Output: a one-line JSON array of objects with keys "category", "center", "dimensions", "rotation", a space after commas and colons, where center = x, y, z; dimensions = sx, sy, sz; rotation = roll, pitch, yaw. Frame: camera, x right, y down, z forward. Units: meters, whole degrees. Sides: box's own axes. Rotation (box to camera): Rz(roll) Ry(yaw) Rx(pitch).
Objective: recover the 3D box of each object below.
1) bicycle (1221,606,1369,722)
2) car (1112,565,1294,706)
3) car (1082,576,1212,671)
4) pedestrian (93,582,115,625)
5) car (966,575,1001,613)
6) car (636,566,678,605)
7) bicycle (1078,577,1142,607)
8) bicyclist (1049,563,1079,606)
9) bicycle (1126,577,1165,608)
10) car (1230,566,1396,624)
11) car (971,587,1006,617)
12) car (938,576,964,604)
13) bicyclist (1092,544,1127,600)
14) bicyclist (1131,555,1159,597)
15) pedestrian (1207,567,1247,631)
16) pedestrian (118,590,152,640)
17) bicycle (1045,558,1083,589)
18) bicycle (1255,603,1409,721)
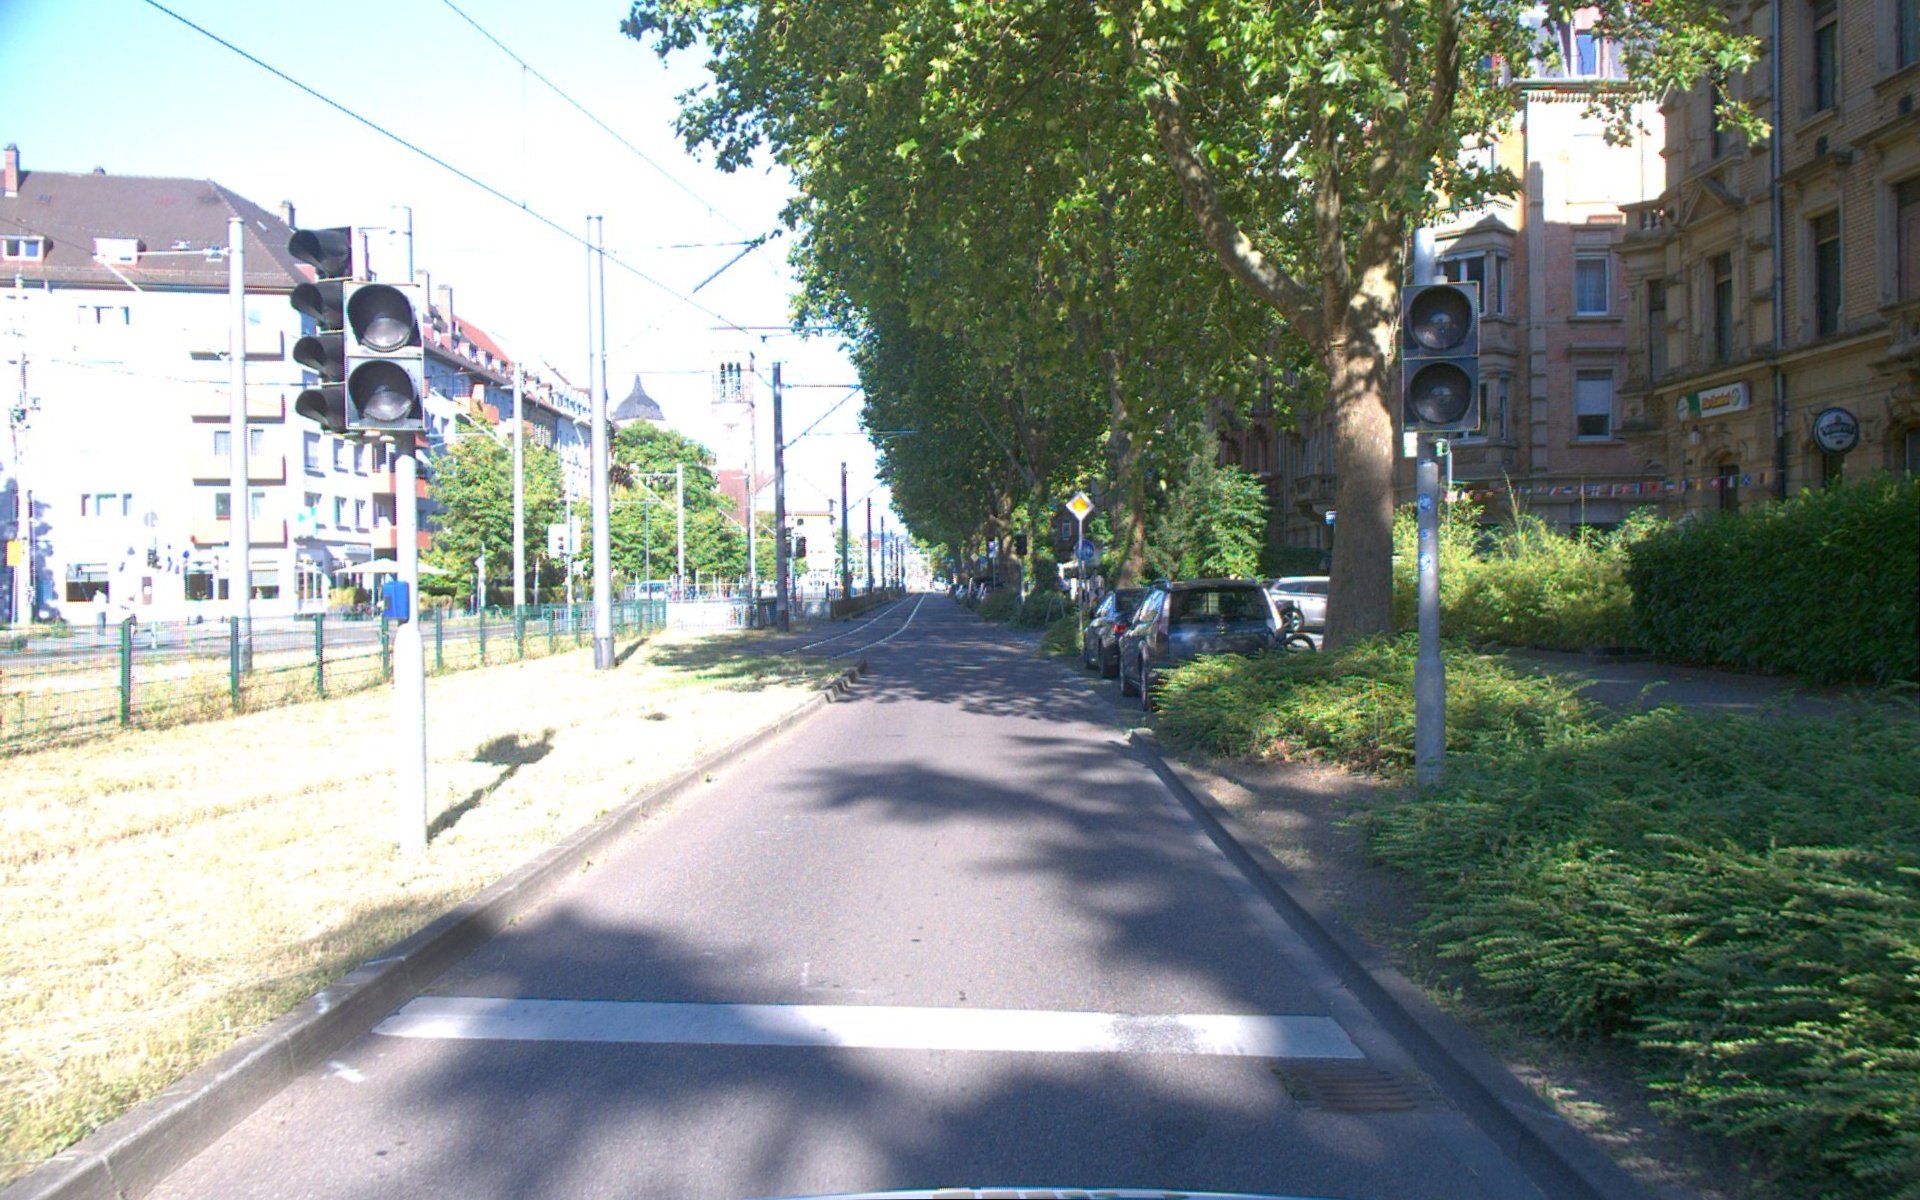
[{"category": "bicycle", "center": [3.493, 0.647, 17.200], "dimensions": [1.580, 1.060, 0.504], "rotation": [-3, 4, -31]}, {"category": "car", "center": [2.918, 0.365, 20.651], "dimensions": [1.610, 1.537, 4.182], "rotation": [-2, 1, 0]}, {"category": "car", "center": [3.003, 0.323, 27.266], "dimensions": [1.610, 1.397, 4.182], "rotation": [-2, 1, 0]}, {"category": "pedestrian", "center": [-30.772, 0.127, 59.449], "dimensions": [0.583, 1.493, 0.907], "rotation": [-3, 3, -30]}, {"category": "car", "center": [1.392, -0.322, 97.806], "dimensions": [1.953, 2.144, 3.999], "rotation": [1, -1, 0]}, {"category": "car", "center": [-17.958, -0.879, 98.066], "dimensions": [1.954, 2.048, 3.998], "rotation": [-2, 3, -4]}, {"category": "bicycle", "center": [5.342, -0.284, 58.975], "dimensions": [2.196, 0.993, 0.682], "rotation": [-1, 3, -2]}, {"category": "bicyclist", "center": [3.645, -0.556, 57.908], "dimensions": [0.798, 1.429, 1.079], "rotation": [-2, 3, -10]}, {"category": "bicycle", "center": [6.695, -0.281, 59.865], "dimensions": [0.798, 0.973, 2.313], "rotation": [-2, 3, -9]}, {"category": "car", "center": [9.484, -0.152, 44.616], "dimensions": [3.915, 1.445, 1.995], "rotation": [-1, 1, -11]}, {"category": "car", "center": [1.501, 0.146, 89.053], "dimensions": [1.757, 1.537, 3.999], "rotation": [1, -1, 0]}, {"category": "car", "center": [-0.681, -0.764, 130.170], "dimensions": [1.953, 2.144, 3.999], "rotation": [1, -1, 0]}, {"category": "bicyclist", "center": [5.324, -0.999, 58.926], "dimensions": [1.118, 1.923, 0.682], "rotation": [-2, 3, -1]}, {"category": "bicyclist", "center": [6.683, -0.873, 59.777], "dimensions": [0.798, 1.429, 0.823], "rotation": [-2, 3, -10]}, {"category": "pedestrian", "center": [7.506, -0.049, 46.556], "dimensions": [0.798, 1.718, 1.079], "rotation": [-2, 3, -10]}, {"category": "pedestrian", "center": [-25.413, 0.455, 50.937], "dimensions": [0.674, 1.493, 0.591], "rotation": [-1, 3, 2]}, {"category": "bicycle", "center": [3.636, -0.930, 57.962], "dimensions": [0.798, 0.973, 2.313], "rotation": [-2, 3, -9]}, {"category": "bicycle", "center": [3.772, 0.607, 16.724], "dimensions": [1.580, 1.043, 0.537], "rotation": [-3, 4, -31]}]
